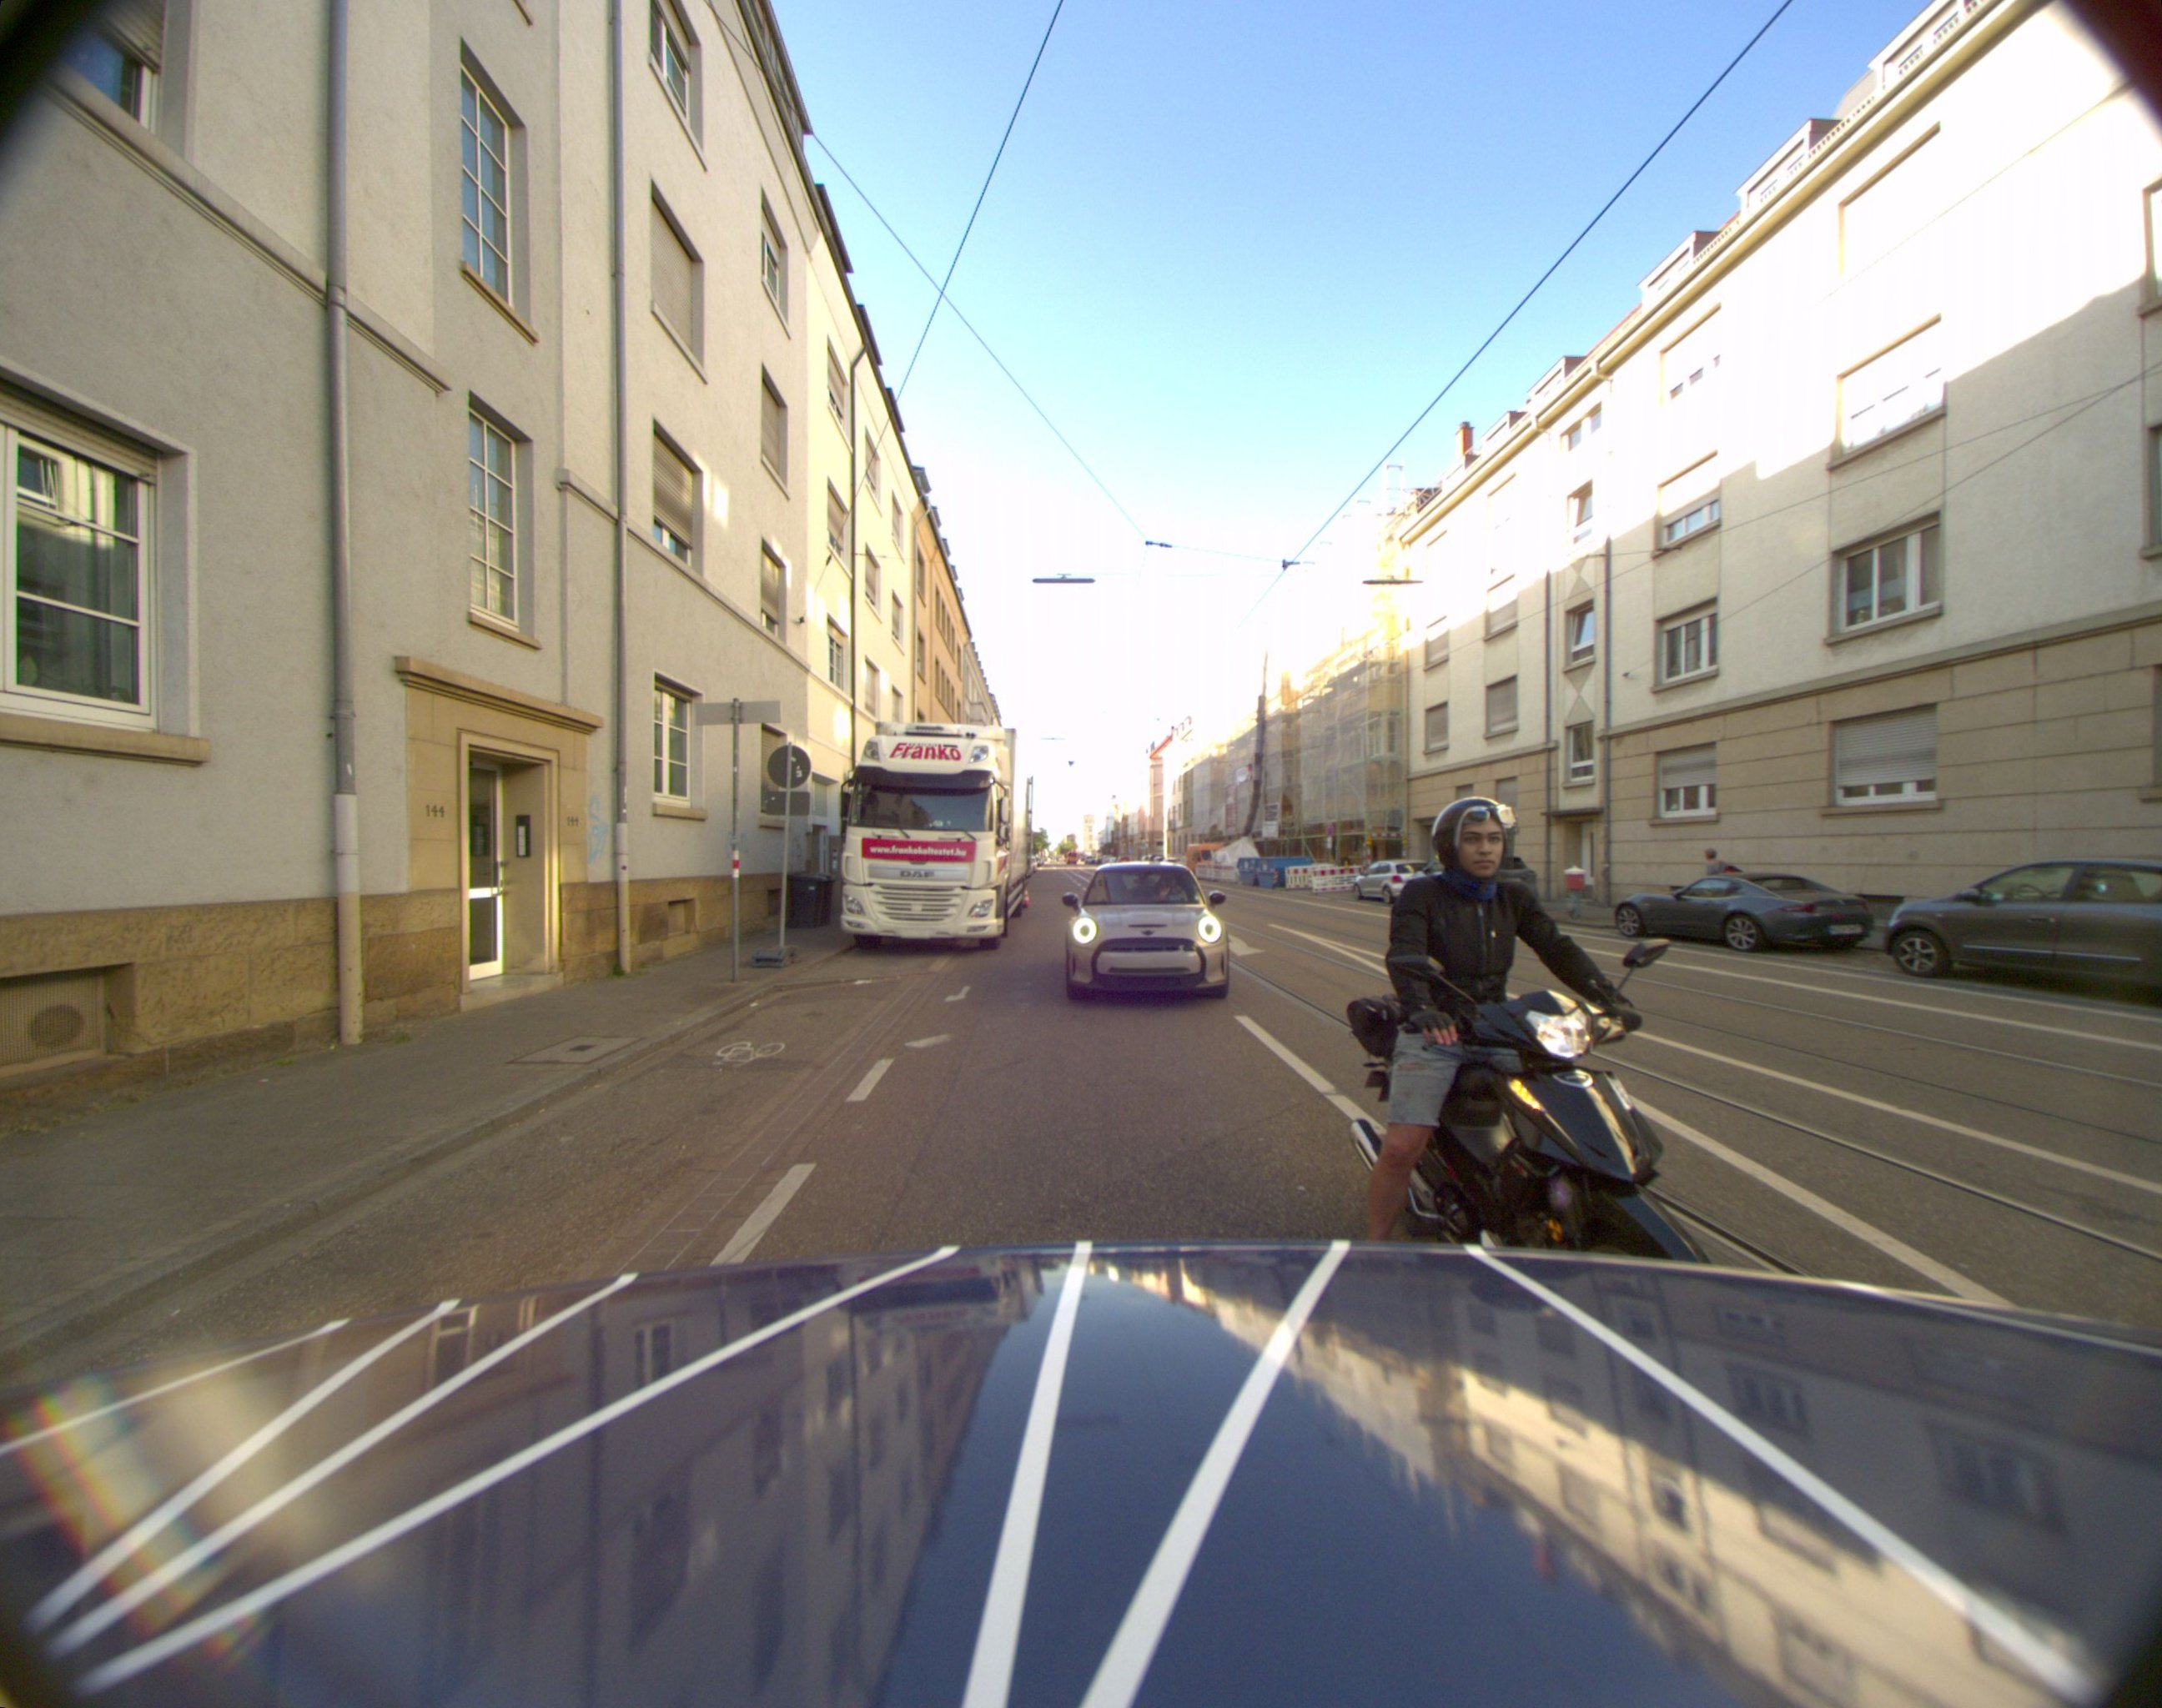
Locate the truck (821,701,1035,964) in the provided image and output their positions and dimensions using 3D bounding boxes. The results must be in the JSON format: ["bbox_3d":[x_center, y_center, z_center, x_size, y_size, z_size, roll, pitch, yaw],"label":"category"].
[{"bbox_3d":[-2.626,-0.324,17.200,2.782,3.903,11.816,0,0,-2],"label":"truck"}]

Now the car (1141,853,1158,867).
[{"bbox_3d":[7.938,0.648,87.899,1.684,1.478,3.966,-2,0,1],"label":"car"}]

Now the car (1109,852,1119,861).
[{"bbox_3d":[5.965,0.436,139.363,1.684,1.478,3.966,-2,0,1],"label":"car"}]

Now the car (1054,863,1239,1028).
[{"bbox_3d":[0.552,0.892,9.297,1.685,1.454,4.148,-2,0,-3],"label":"car"}]

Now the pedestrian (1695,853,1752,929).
[{"bbox_3d":[13.174,0.748,15.603,0.570,1.532,0.693,0,1,-2],"label":"pedestrian"}]

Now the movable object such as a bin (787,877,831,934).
[{"bbox_3d":[-5.383,1.004,15.060,0.666,1.087,0.570,0,1,-2],"label":"movable object such as a bin"}]

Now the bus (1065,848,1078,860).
[{"bbox_3d":[-2.612,-0.050,208.132,2.755,3.095,19.156,0,0,-3],"label":"bus"}]

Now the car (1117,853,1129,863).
[{"bbox_3d":[6.605,0.616,118.654,1.684,1.478,3.966,-2,0,1],"label":"car"}]

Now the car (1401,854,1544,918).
[{"bbox_3d":[10.811,0.803,21.350,1.696,1.590,4.206,-1,0,-3],"label":"car"}]

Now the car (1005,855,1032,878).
[{"bbox_3d":[-4.300,0.824,53.010,1.685,1.522,4.148,-2,0,-3],"label":"car"}]

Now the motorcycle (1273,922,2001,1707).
[{"bbox_3d":[1.308,0.971,2.539,0.791,1.284,2.273,0,0,1],"label":"motorcycle"}]

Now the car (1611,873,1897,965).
[{"bbox_3d":[11.180,0.999,13.000,1.520,1.227,3.685,-1,0,-3],"label":"car"}]

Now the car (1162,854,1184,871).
[{"bbox_3d":[8.575,0.756,71.132,1.684,1.478,3.966,-2,0,1],"label":"car"}]

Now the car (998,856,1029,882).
[{"bbox_3d":[-4.174,0.892,47.207,1.685,1.522,4.148,-2,0,-3],"label":"car"}]

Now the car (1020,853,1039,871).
[{"bbox_3d":[-4.853,0.743,72.118,1.685,1.522,4.148,-2,0,-3],"label":"car"}]

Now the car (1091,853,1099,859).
[{"bbox_3d":[3.547,0.598,191.765,1.684,1.478,3.965,-2,0,-1],"label":"car"}]

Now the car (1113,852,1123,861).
[{"bbox_3d":[6.538,0.457,134.420,1.684,1.478,3.966,-2,0,1],"label":"car"}]

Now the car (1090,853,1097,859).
[{"bbox_3d":[3.322,0.577,206.909,1.684,1.478,3.965,-2,0,-1],"label":"car"}]

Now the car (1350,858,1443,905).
[{"bbox_3d":[10.610,0.879,25.798,1.543,1.404,3.510,-1,0,-3],"label":"car"}]

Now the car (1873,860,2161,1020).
[{"bbox_3d":[11.416,0.859,8.338,1.679,1.519,3.539,-1,0,-3],"label":"car"}]

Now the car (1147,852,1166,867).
[{"bbox_3d":[8.249,0.611,83.202,1.684,1.573,3.966,-2,0,1],"label":"car"}]

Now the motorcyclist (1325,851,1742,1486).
[{"bbox_3d":[1.308,0.815,2.410,0.791,1.645,0.900,0,1,1],"label":"motorcyclist"}]

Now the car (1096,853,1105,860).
[{"bbox_3d":[4.268,0.607,167.831,1.684,1.478,3.965,-2,0,-1],"label":"car"}]

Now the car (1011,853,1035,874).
[{"bbox_3d":[-4.508,0.741,59.178,1.685,1.522,4.148,-2,0,-3],"label":"car"}]

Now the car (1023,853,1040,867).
[{"bbox_3d":[-5.346,0.643,82.764,1.685,1.522,4.148,-2,0,-3],"label":"car"}]

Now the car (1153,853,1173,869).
[{"bbox_3d":[8.270,0.700,76.829,1.684,1.478,3.966,-2,0,1],"label":"car"}]

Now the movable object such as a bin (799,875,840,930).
[{"bbox_3d":[-5.400,0.996,15.729,0.666,1.087,0.570,0,1,-2],"label":"movable object such as a bin"}]
